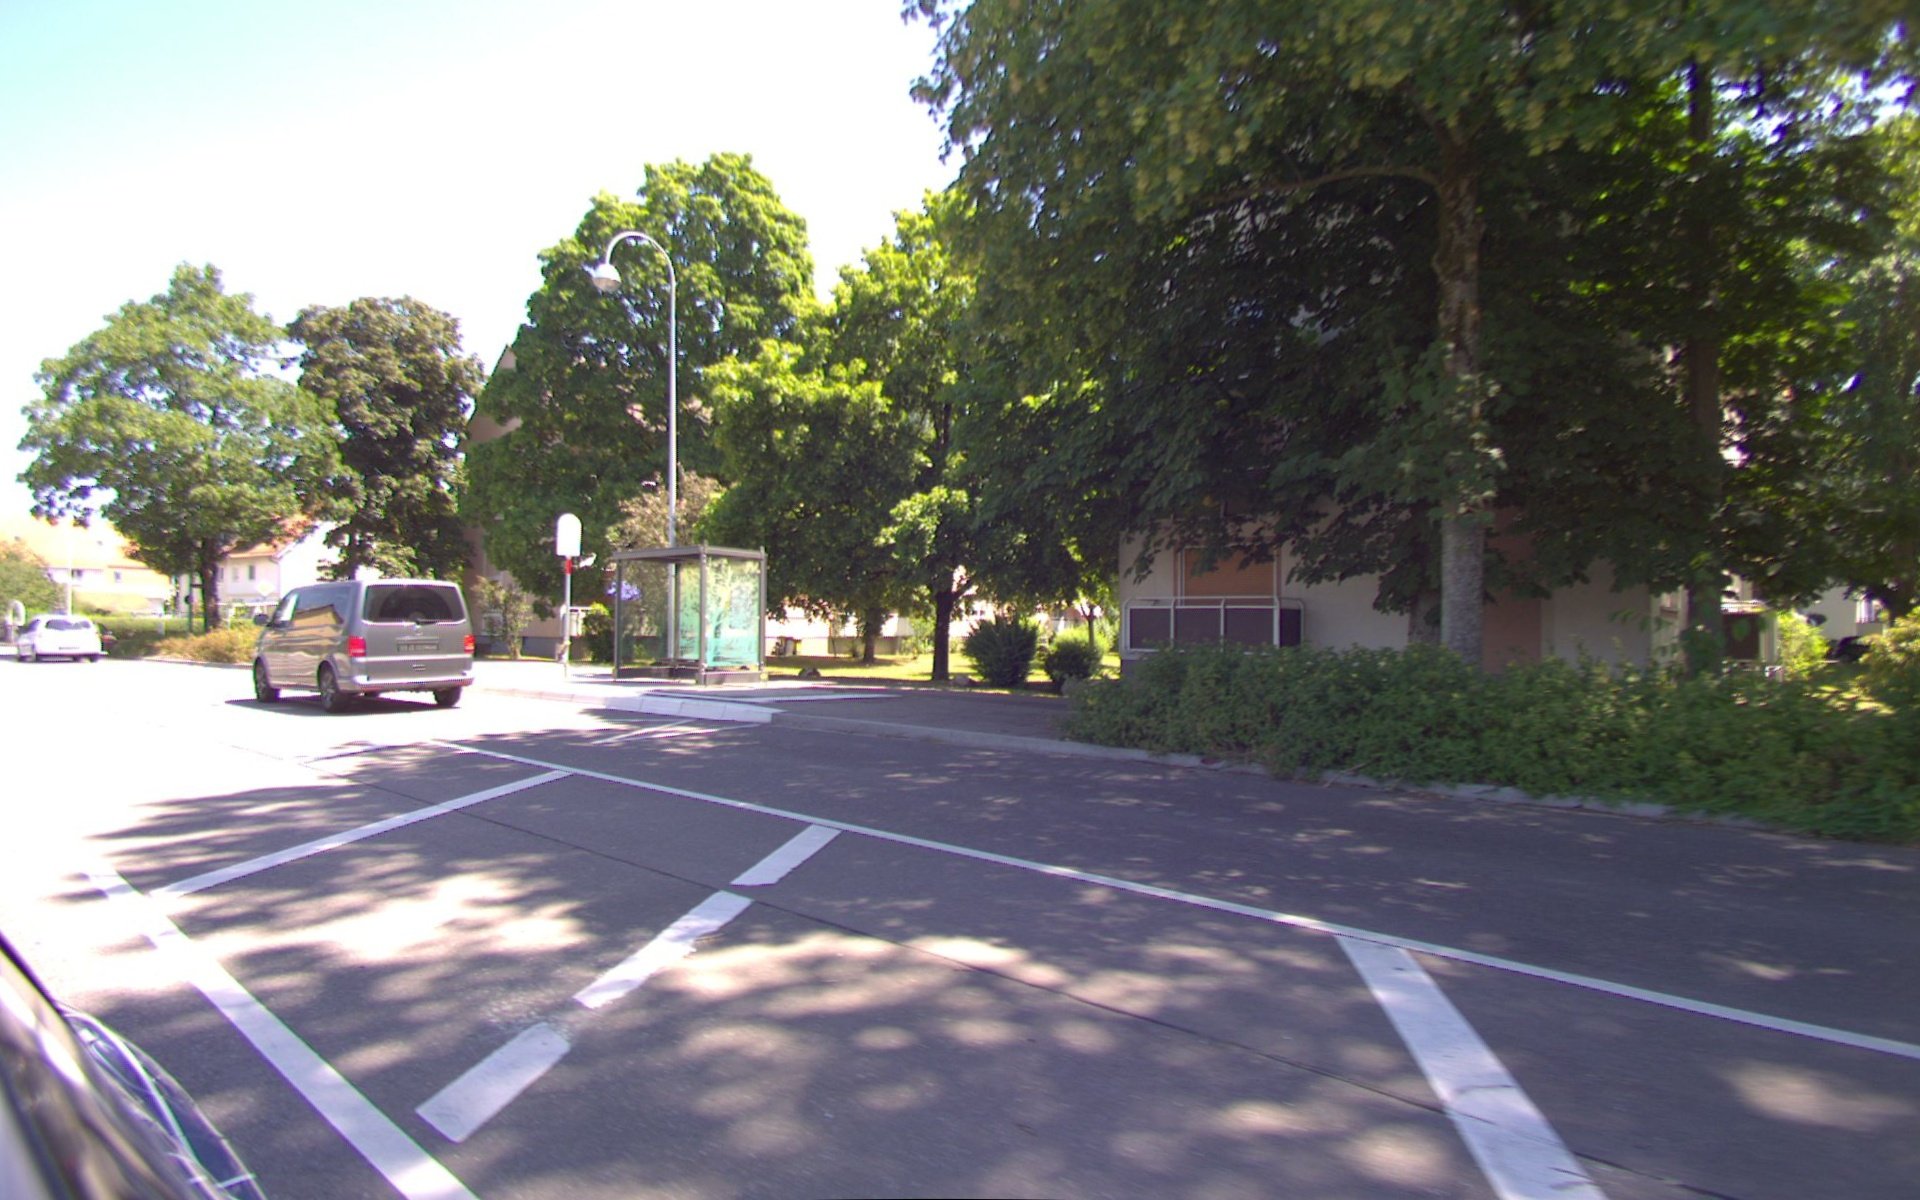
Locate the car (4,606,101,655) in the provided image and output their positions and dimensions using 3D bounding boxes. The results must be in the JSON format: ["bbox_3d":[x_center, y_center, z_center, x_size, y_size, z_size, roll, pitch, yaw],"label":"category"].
[{"bbox_3d":[-29.148,0.962,32.479,3.633,1.471,1.675,-1,-1,37],"label":"car"}]

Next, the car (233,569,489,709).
[{"bbox_3d":[-9.707,0.574,16.226,4.986,1.924,1.974,-1,-1,40],"label":"car"}]
